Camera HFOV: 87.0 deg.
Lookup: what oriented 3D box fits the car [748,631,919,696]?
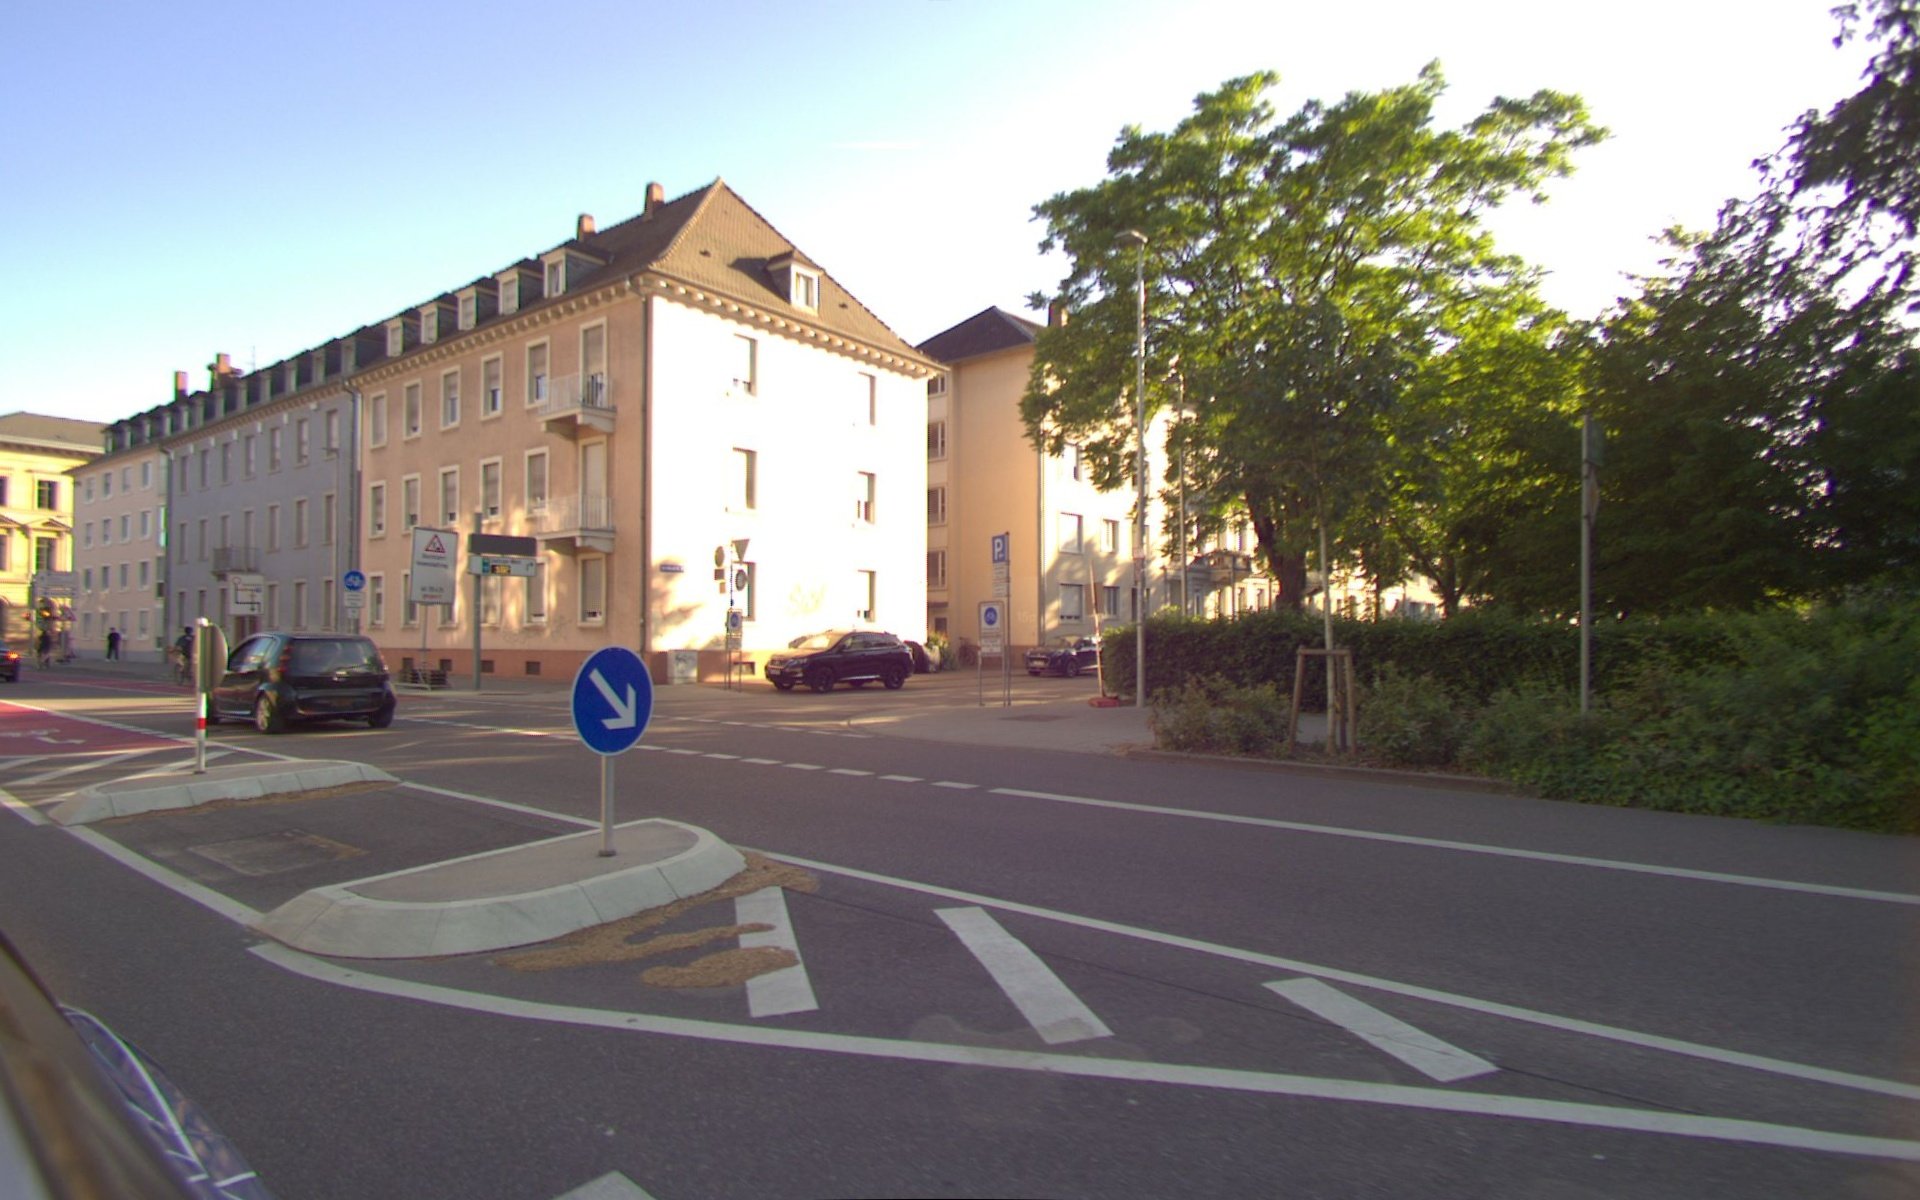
[{"bbox_3d":[-3.472,1.746,28.473,2.061,1.691,4.524,-2,-4,43],"label":"car"}]

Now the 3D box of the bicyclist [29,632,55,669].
[{"bbox_3d":[-42.992,2.366,47.402,0.736,1.723,0.630,-2,-6,34],"label":"bicyclist"}]

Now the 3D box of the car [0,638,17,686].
[{"bbox_3d":[-30.882,1.917,31.344,4.549,1.430,1.794,-2,-3,39],"label":"car"}]

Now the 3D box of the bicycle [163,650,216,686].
[{"bbox_3d":[-22.206,1.956,29.158,2.106,1.003,0.645,-2,-4,37],"label":"bicycle"}]

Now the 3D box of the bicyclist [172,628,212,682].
[{"bbox_3d":[-22.064,1.580,29.076,0.664,1.497,0.650,-2,-6,37],"label":"bicyclist"}]

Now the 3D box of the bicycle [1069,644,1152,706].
[{"bbox_3d":[3.175,1.535,21.156,0.560,1.239,2.295,-2,-3,41],"label":"bicycle"}]

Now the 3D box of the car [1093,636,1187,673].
[{"bbox_3d":[7.320,2.172,40.858,1.877,1.431,4.212,-2,-3,40],"label":"car"}]

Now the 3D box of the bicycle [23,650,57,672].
[{"bbox_3d":[-42.996,2.842,47.299,2.103,1.003,0.641,-2,-4,33],"label":"bicycle"}]

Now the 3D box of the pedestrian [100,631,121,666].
[{"bbox_3d":[-46.514,2.668,55.425,1.011,1.860,0.626,-2,0,35],"label":"pedestrian"}]

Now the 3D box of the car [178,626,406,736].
[{"bbox_3d":[-10.229,1.156,15.409,3.995,1.470,1.741,-2,-3,39],"label":"car"}]

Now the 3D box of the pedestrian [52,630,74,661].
[{"bbox_3d":[-55.776,2.798,62.896,1.014,1.877,0.859,-2,-1,40],"label":"pedestrian"}]

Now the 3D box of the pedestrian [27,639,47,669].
[{"bbox_3d":[-51.313,3.005,56.251,0.816,1.595,0.626,-2,0,35],"label":"pedestrian"}]

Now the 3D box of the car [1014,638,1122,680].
[{"bbox_3d":[3.986,2.120,36.926,1.956,1.431,4.144,-2,-3,40],"label":"car"}]
